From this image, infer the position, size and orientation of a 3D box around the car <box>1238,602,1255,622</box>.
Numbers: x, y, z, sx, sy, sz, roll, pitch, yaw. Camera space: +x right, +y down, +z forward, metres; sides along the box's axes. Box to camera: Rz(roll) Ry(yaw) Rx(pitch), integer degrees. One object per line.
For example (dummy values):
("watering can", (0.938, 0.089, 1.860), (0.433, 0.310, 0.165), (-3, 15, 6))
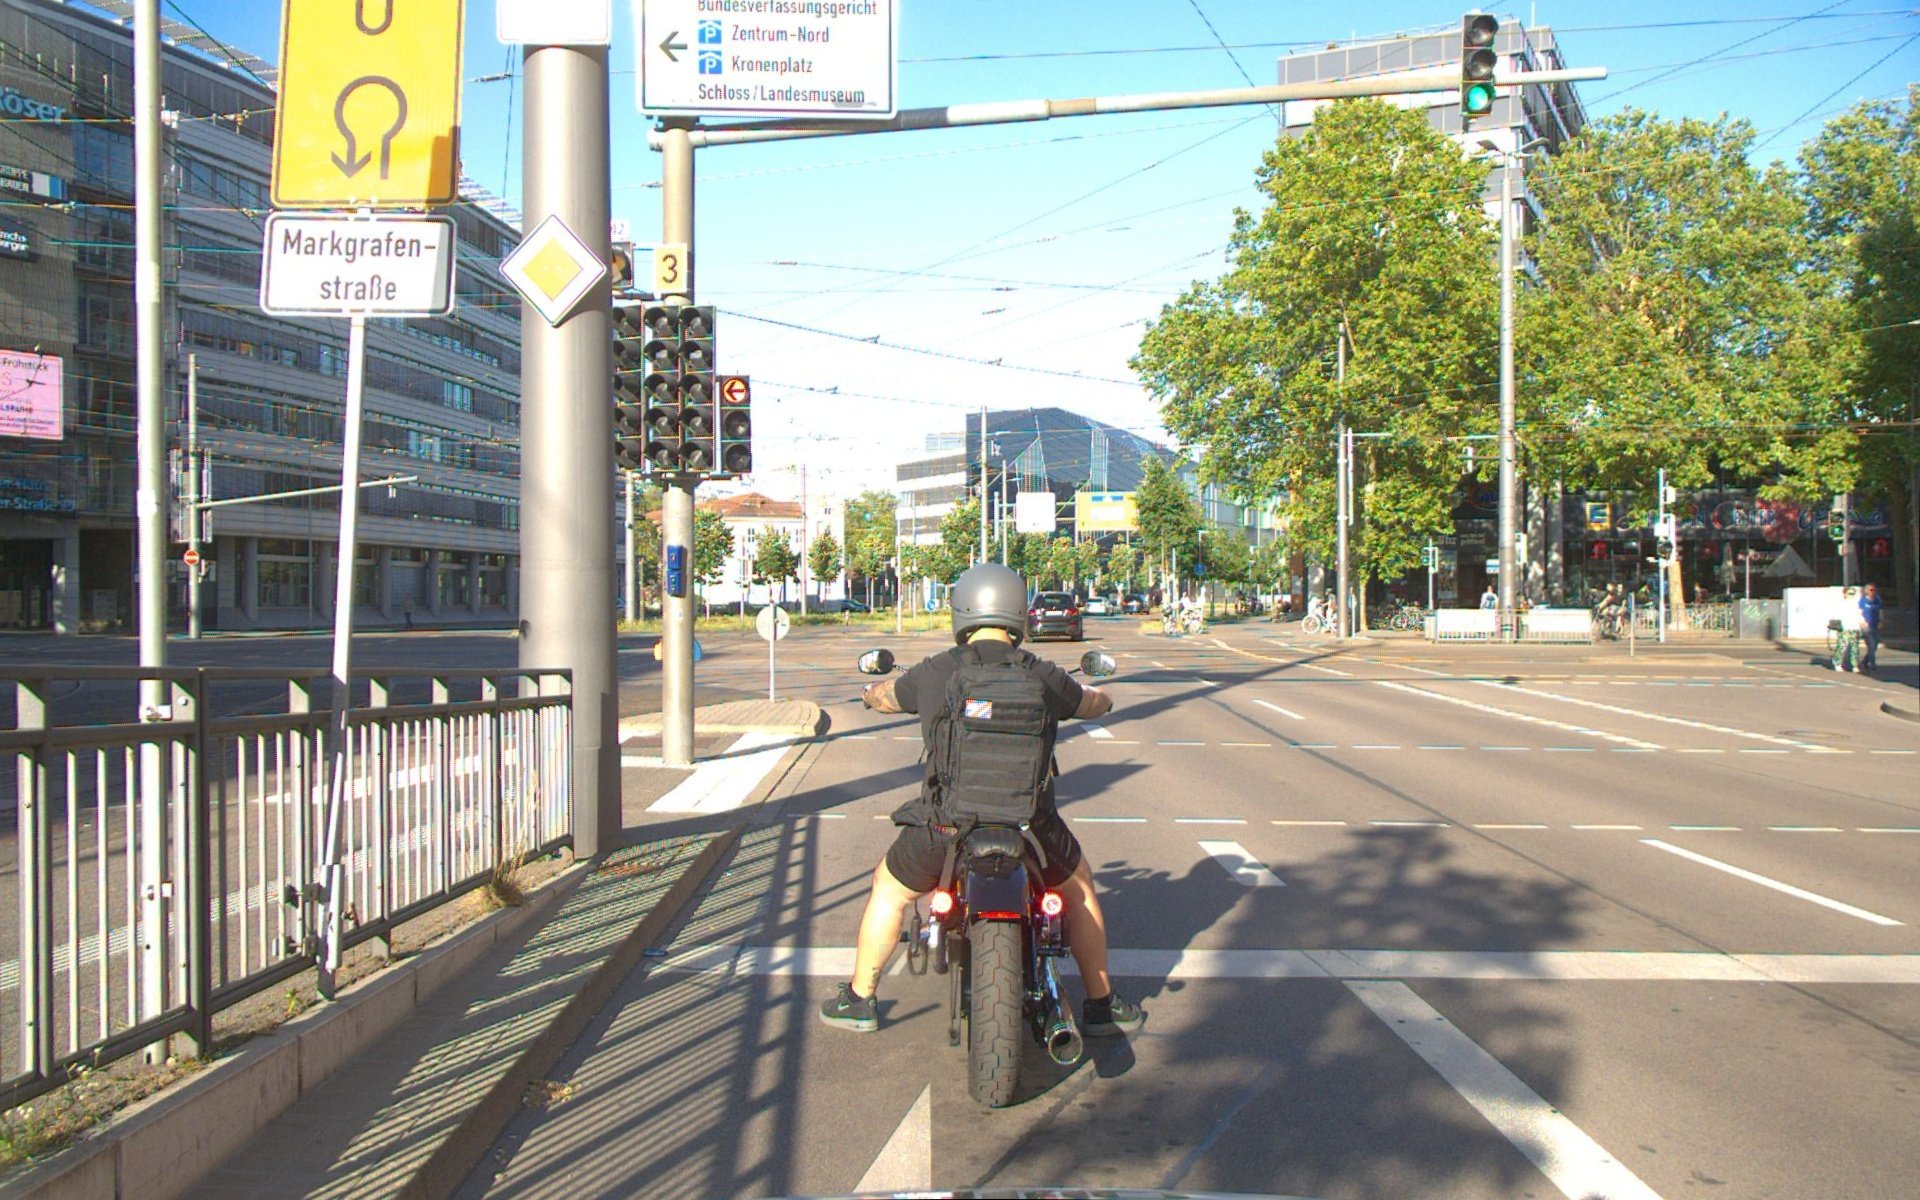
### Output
("car", (27.463, 1.169, 158.398), (1.497, 1.870, 3.578), (1, -1, 12))

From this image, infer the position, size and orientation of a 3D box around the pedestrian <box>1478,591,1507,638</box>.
("pedestrian", (19.850, 0.552, 61.672), (0.816, 1.734, 0.759), (1, -1, -1))

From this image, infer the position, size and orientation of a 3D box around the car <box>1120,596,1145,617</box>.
("car", (14.891, 0.586, 142.372), (1.765, 1.708, 4.044), (1, -1, 11))

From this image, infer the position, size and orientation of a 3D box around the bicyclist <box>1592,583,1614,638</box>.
("bicyclist", (22.141, 0.363, 56.926), (0.572, 1.870, 0.402), (1, -1, -1))

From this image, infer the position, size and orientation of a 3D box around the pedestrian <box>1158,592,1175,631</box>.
("pedestrian", (8.592, 0.483, 68.830), (0.576, 1.584, 0.488), (1, -1, -9))

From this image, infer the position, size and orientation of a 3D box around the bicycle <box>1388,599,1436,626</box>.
("bicycle", (18.259, 0.498, 66.783), (1.842, 1.065, 0.360), (1, -1, -2))

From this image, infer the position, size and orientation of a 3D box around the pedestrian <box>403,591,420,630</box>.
("pedestrian", (-28.925, 0.536, 87.191), (0.617, 2.049, 0.754), (1, -1, -1))

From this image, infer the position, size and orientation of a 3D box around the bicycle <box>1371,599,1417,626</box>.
("bicycle", (18.179, 0.532, 69.270), (1.842, 1.064, 0.360), (1, 0, -2))

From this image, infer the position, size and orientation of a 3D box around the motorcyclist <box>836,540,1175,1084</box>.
("motorcyclist", (0.131, 0.630, 5.381), (1.009, 1.621, 0.873), (0, 0, -1))

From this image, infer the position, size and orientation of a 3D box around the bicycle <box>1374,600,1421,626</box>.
("bicycle", (18.204, 0.540, 68.785), (1.842, 1.065, 0.360), (1, -1, -2))

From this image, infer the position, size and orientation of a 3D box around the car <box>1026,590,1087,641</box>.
("car", (3.241, 0.475, 54.970), (1.765, 1.623, 4.456), (0, 0, 6))

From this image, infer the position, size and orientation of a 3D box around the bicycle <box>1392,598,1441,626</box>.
("bicycle", (18.215, 0.477, 65.999), (1.842, 1.065, 0.360), (1, -1, -2))

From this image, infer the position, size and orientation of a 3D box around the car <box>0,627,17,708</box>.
("car", (-14.522, 0.902, 22.424), (2.835, 1.081, 1.235), (1, -1, -22))

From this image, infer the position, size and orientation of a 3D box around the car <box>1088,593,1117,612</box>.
("car", (11.098, 0.176, 128.739), (1.765, 1.455, 4.457), (0, 0, 12))

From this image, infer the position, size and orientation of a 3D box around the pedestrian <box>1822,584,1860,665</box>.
("pedestrian", (17.291, 0.481, 32.459), (0.554, 1.559, 0.702), (1, -1, 20))

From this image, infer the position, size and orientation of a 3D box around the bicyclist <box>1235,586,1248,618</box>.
("bicyclist", (16.561, 0.112, 97.351), (0.682, 1.840, 0.729), (1, -1, 3))

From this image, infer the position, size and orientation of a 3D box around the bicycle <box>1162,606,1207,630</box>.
("bicycle", (9.135, 0.721, 67.219), (1.792, 0.942, 0.357), (1, -1, -9))

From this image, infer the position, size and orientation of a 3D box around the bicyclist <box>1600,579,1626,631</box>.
("bicyclist", (19.660, 0.145, 49.774), (0.556, 1.545, 0.631), (0, -1, 38))

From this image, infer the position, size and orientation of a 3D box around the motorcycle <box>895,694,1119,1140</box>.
("motorcycle", (0.111, 0.919, 5.581), (0.588, 1.054, 2.233), (1, 0, -1))

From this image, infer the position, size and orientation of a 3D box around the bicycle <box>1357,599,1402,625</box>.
("bicycle", (17.983, 0.527, 70.916), (1.842, 1.064, 0.360), (1, 0, -2))

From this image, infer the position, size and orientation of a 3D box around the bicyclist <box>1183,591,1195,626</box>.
("bicyclist", (9.326, 0.358, 67.248), (0.374, 1.397, 0.344), (1, -1, -9))

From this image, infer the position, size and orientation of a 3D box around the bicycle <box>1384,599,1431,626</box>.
("bicycle", (18.279, 0.519, 67.598), (1.842, 1.065, 0.360), (1, -1, -2))

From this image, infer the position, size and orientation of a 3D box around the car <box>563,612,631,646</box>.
("car", (-17.180, 1.375, 78.476), (1.712, 1.550, 4.003), (1, -1, 11))

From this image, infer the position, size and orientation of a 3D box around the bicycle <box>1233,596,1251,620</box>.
("bicycle", (16.586, 0.461, 97.335), (0.710, 1.391, 2.918), (1, -1, 3))

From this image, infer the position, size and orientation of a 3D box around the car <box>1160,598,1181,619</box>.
("car", (19.806, 0.791, 155.663), (1.692, 1.870, 3.578), (1, -1, 12))

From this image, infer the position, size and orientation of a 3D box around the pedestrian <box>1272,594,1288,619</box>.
("pedestrian", (17.575, 0.366, 90.947), (0.802, 1.337, 0.638), (1, -1, 8))

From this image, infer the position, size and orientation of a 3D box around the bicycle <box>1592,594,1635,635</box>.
("bicycle", (19.698, 0.437, 49.810), (0.557, 1.199, 2.319), (0, -1, 38))

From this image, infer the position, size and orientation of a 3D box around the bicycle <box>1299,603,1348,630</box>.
("bicycle", (14.381, 0.668, 65.458), (1.831, 1.062, 0.537), (0, -1, 18))

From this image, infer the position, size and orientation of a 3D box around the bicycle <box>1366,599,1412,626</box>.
("bicycle", (18.094, 0.528, 69.768), (1.842, 1.064, 0.360), (1, 0, -2))

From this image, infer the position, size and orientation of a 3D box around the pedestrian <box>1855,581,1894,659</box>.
("pedestrian", (17.842, 0.386, 32.277), (0.554, 1.505, 0.702), (1, -1, 20))

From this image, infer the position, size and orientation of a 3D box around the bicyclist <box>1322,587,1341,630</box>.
("bicyclist", (14.698, 0.346, 65.363), (0.673, 1.702, 0.541), (0, -1, 18))

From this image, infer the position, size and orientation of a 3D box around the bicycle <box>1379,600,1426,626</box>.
("bicycle", (18.228, 0.535, 68.154), (1.842, 1.064, 0.360), (1, 0, -2))

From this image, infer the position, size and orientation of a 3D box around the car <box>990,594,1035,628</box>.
("car", (2.388, 0.468, 73.865), (1.765, 1.455, 4.456), (0, 0, 5))

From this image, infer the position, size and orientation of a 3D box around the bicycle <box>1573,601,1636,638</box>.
("bicycle", (22.175, 0.678, 56.918), (2.001, 1.235, 0.421), (1, -1, -1))
